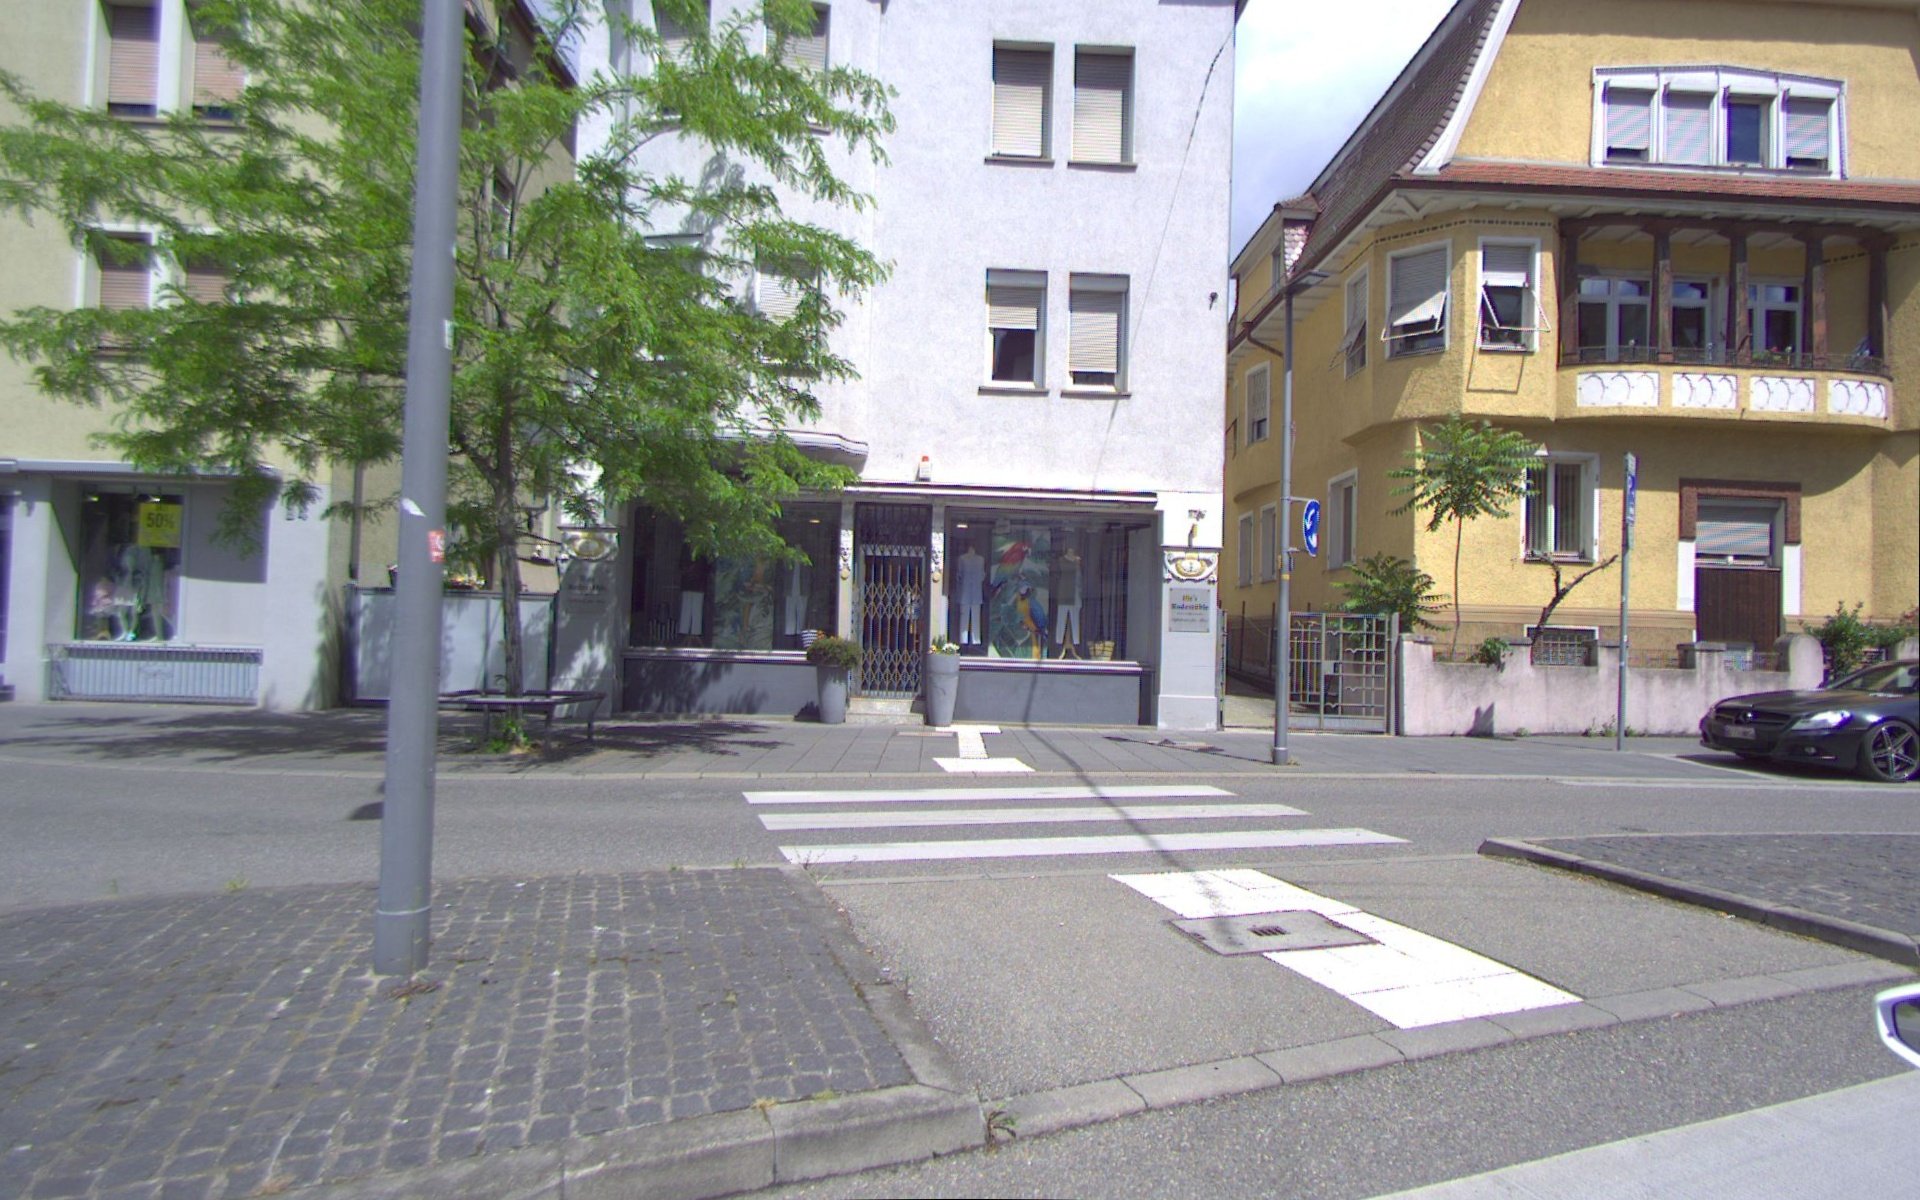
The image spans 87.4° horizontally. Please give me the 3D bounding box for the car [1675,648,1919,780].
[{"bbox_3d":[10.824,1.255,11.353,4.325,1.262,1.714,1,1,-3],"label":"car"}]
